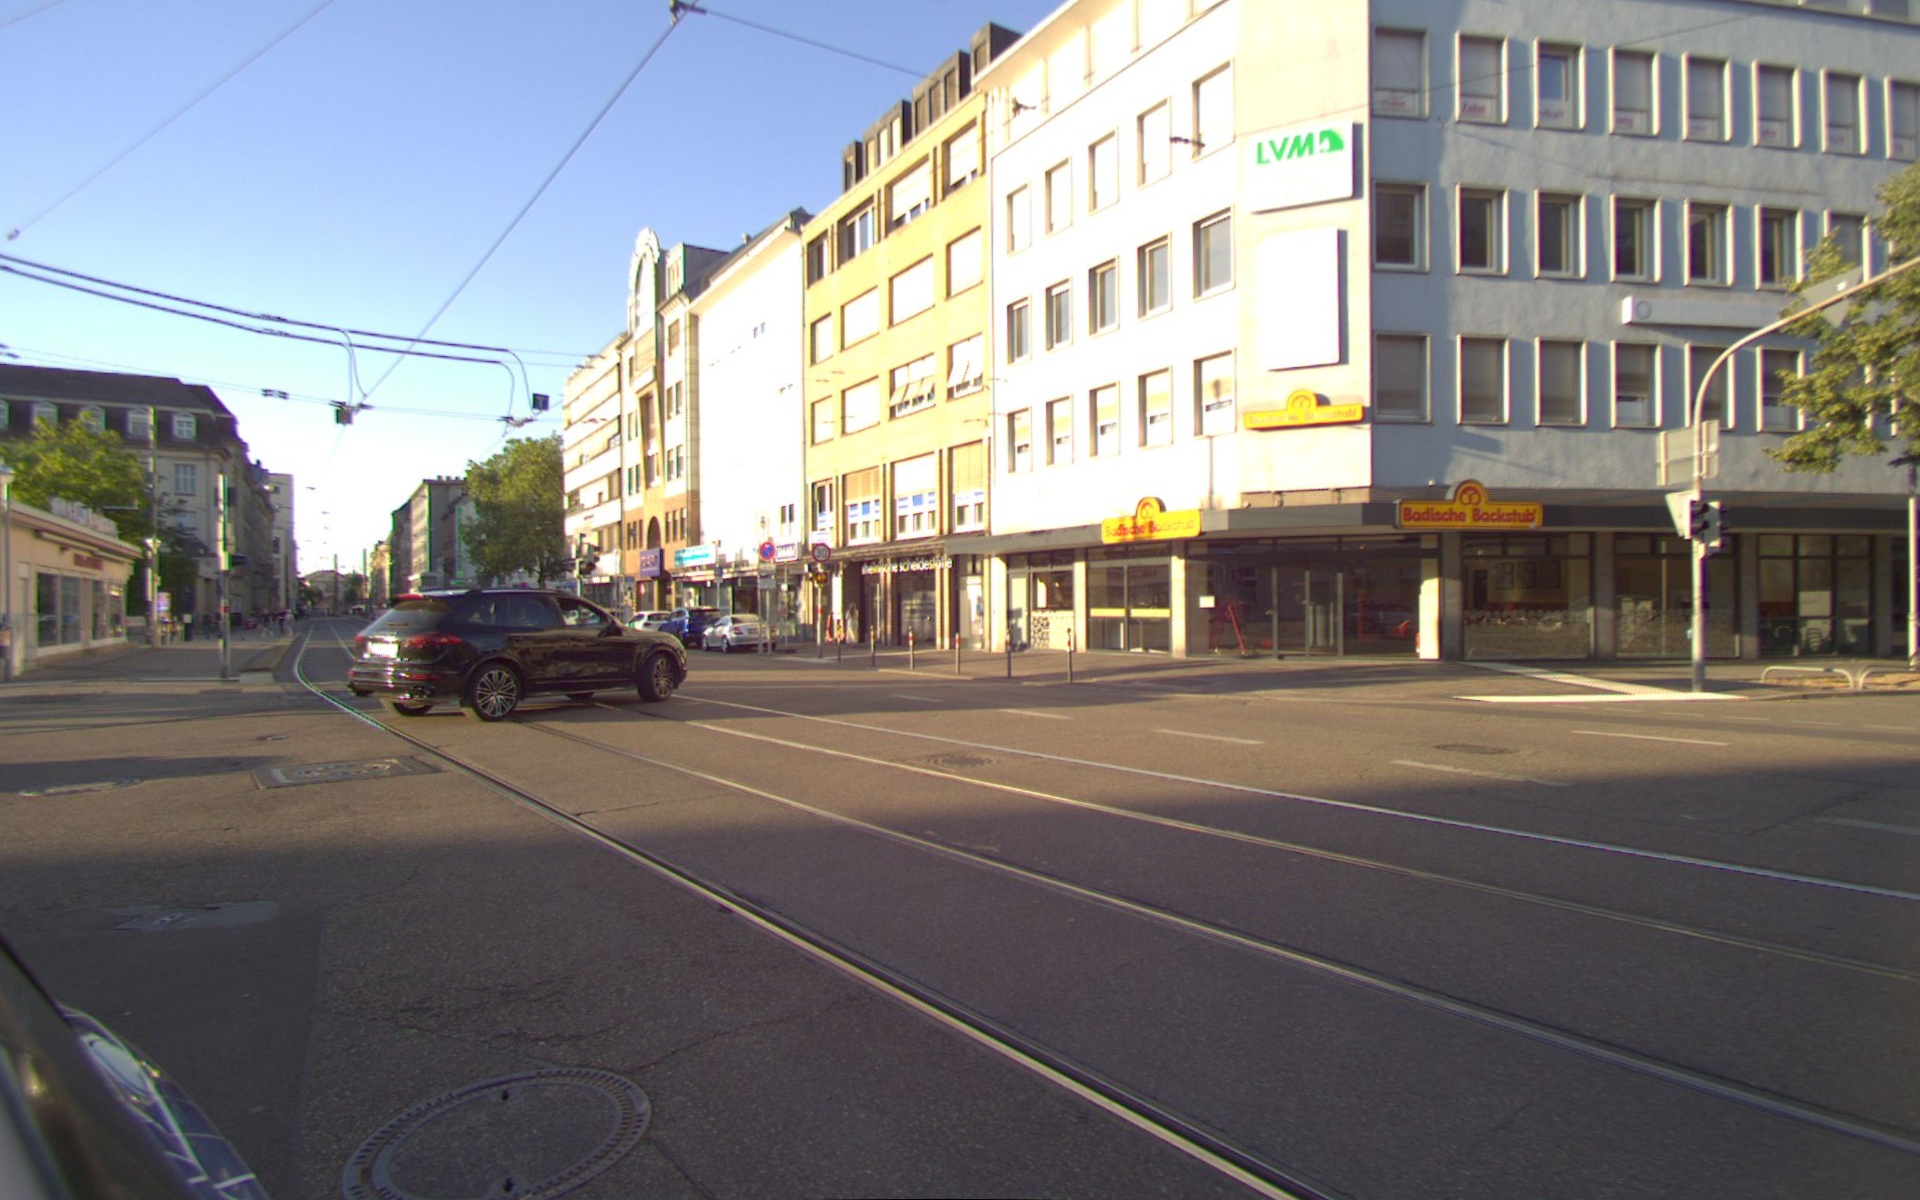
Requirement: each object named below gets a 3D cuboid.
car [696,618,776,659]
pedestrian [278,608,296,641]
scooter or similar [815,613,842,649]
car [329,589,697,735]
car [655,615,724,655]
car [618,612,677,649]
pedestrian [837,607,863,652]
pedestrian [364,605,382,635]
[{"bbox_3d":[-7.872,1.314,35.405,1.610,1.262,3.398,-3,0,-32],"label":"car"},{"bbox_3d":[-42.383,1.546,63.719,0.841,2.028,0.705,3,3,43],"label":"pedestrian"},{"bbox_3d":[-4.890,1.143,37.499,0.389,1.268,1.471,-2,0,-31],"label":"scooter or similar"},{"bbox_3d":[-6.025,0.745,14.234,1.799,1.710,4.521,-2,-1,31],"label":"car"},{"bbox_3d":[-10.501,1.327,39.181,1.610,1.364,3.398,-3,0,-32],"label":"car"},{"bbox_3d":[-13.838,1.329,44.704,1.610,1.475,3.398,-3,0,-32],"label":"car"},{"bbox_3d":[-3.793,1.024,34.999,0.625,1.483,0.536,-3,1,42],"label":"pedestrian"},{"bbox_3d":[-40.905,1.406,70.545,0.835,2.028,0.710,1,2,22],"label":"pedestrian"}]
